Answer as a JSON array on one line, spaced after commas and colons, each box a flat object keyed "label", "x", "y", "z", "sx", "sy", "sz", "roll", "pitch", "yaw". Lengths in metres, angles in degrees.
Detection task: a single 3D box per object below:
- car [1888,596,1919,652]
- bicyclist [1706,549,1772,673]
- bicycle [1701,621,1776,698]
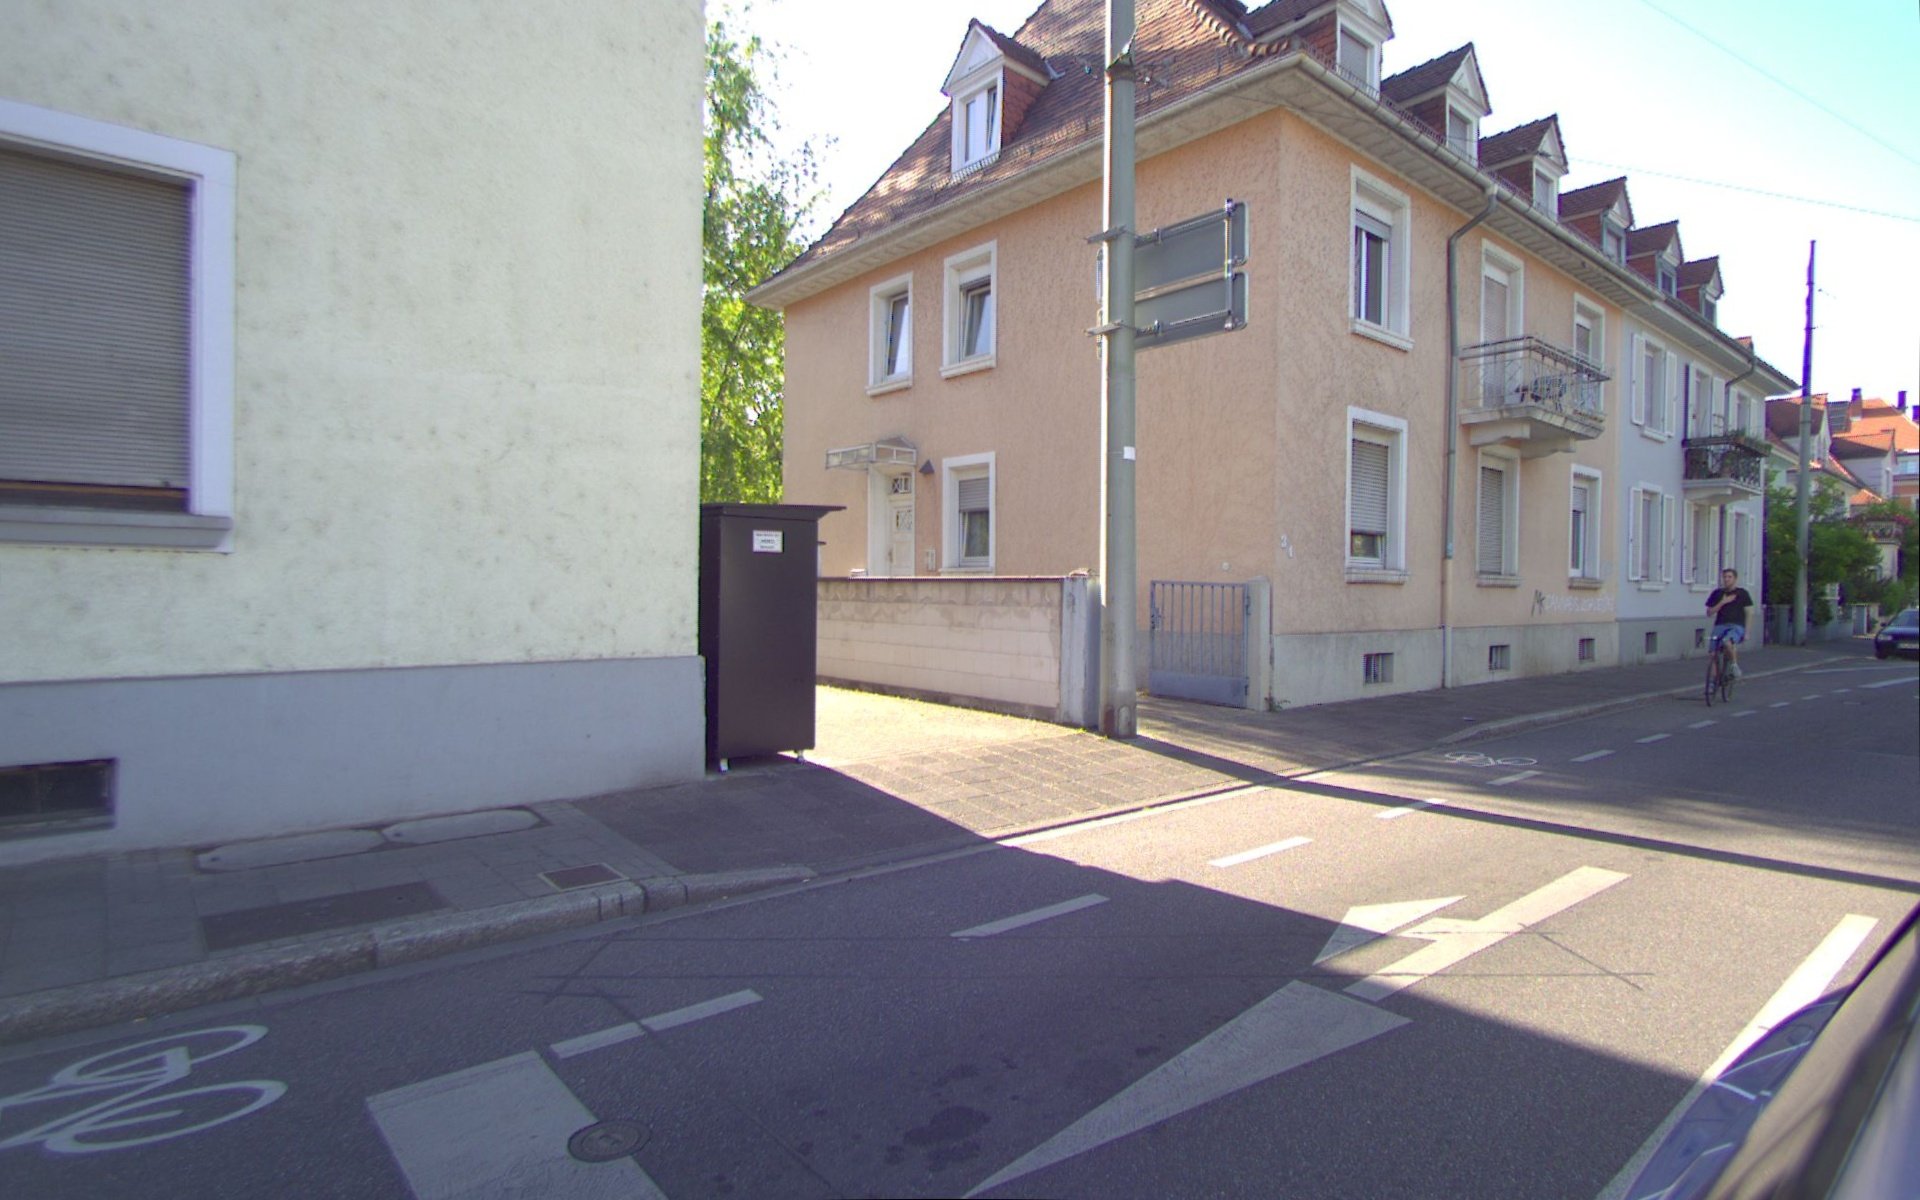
[{"label": "car", "x": 26.712, "y": 0.627, "z": 27.397, "sx": 4.347, "sy": 1.425, "sz": 1.866, "roll": 0, "pitch": 1, "yaw": -41}, {"label": "bicyclist", "x": 11.506, "y": 0.152, "z": 14.939, "sx": 1.065, "sy": 1.752, "sz": 0.561, "roll": 0, "pitch": 0, "yaw": -40}, {"label": "bicycle", "x": 11.505, "y": 0.852, "z": 14.942, "sx": 1.727, "sy": 1.029, "sz": 0.533, "roll": 0, "pitch": 1, "yaw": -41}]
